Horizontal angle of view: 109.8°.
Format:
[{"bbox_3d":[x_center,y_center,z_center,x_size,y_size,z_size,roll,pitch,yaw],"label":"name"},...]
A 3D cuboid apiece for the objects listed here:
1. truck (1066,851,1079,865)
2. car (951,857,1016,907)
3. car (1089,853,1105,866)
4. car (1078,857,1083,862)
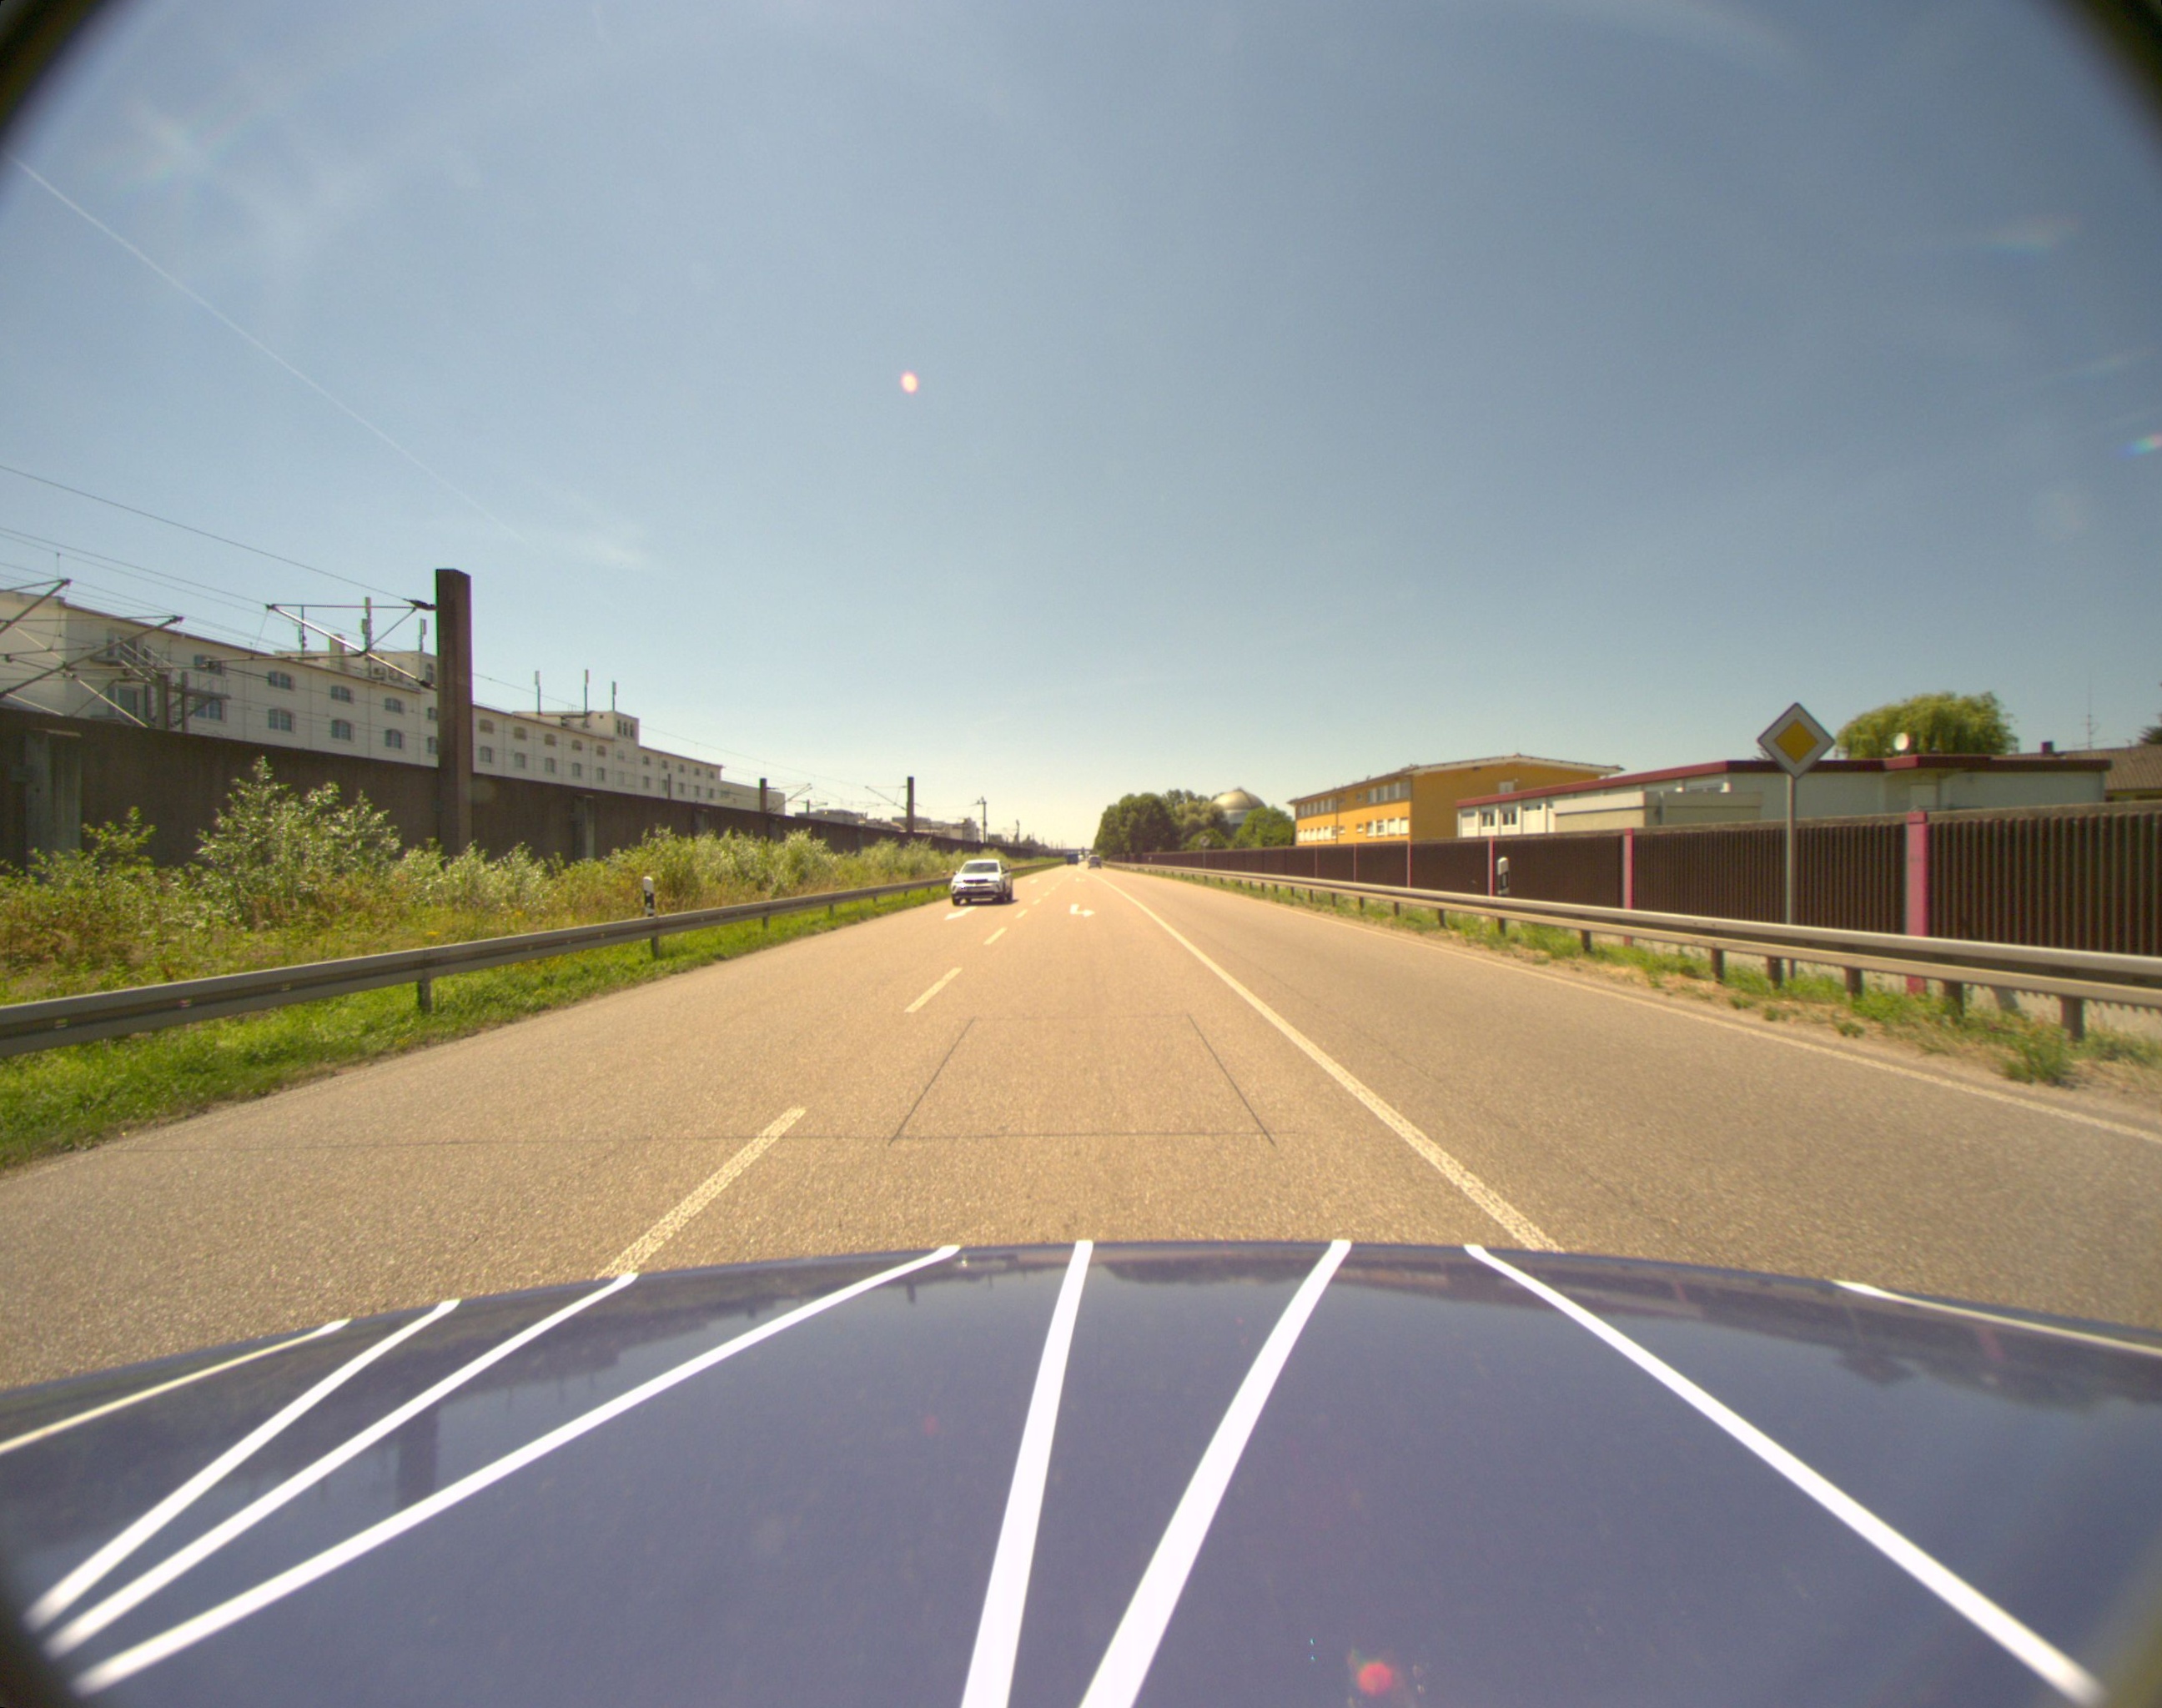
[{"bbox_3d":[-1.824,0.791,165.036,2.617,3.024,10.654,-1,0,0],"label":"truck"},{"bbox_3d":[-3.384,0.927,27.045,1.823,1.554,4.277,-1,0,-2],"label":"car"},{"bbox_3d":[2.151,0.753,102.931,1.892,1.730,4.775,-2,0,-2],"label":"car"},{"bbox_3d":[-0.195,1.593,235.488,1.730,1.464,3.889,-1,0,-1],"label":"car"}]
